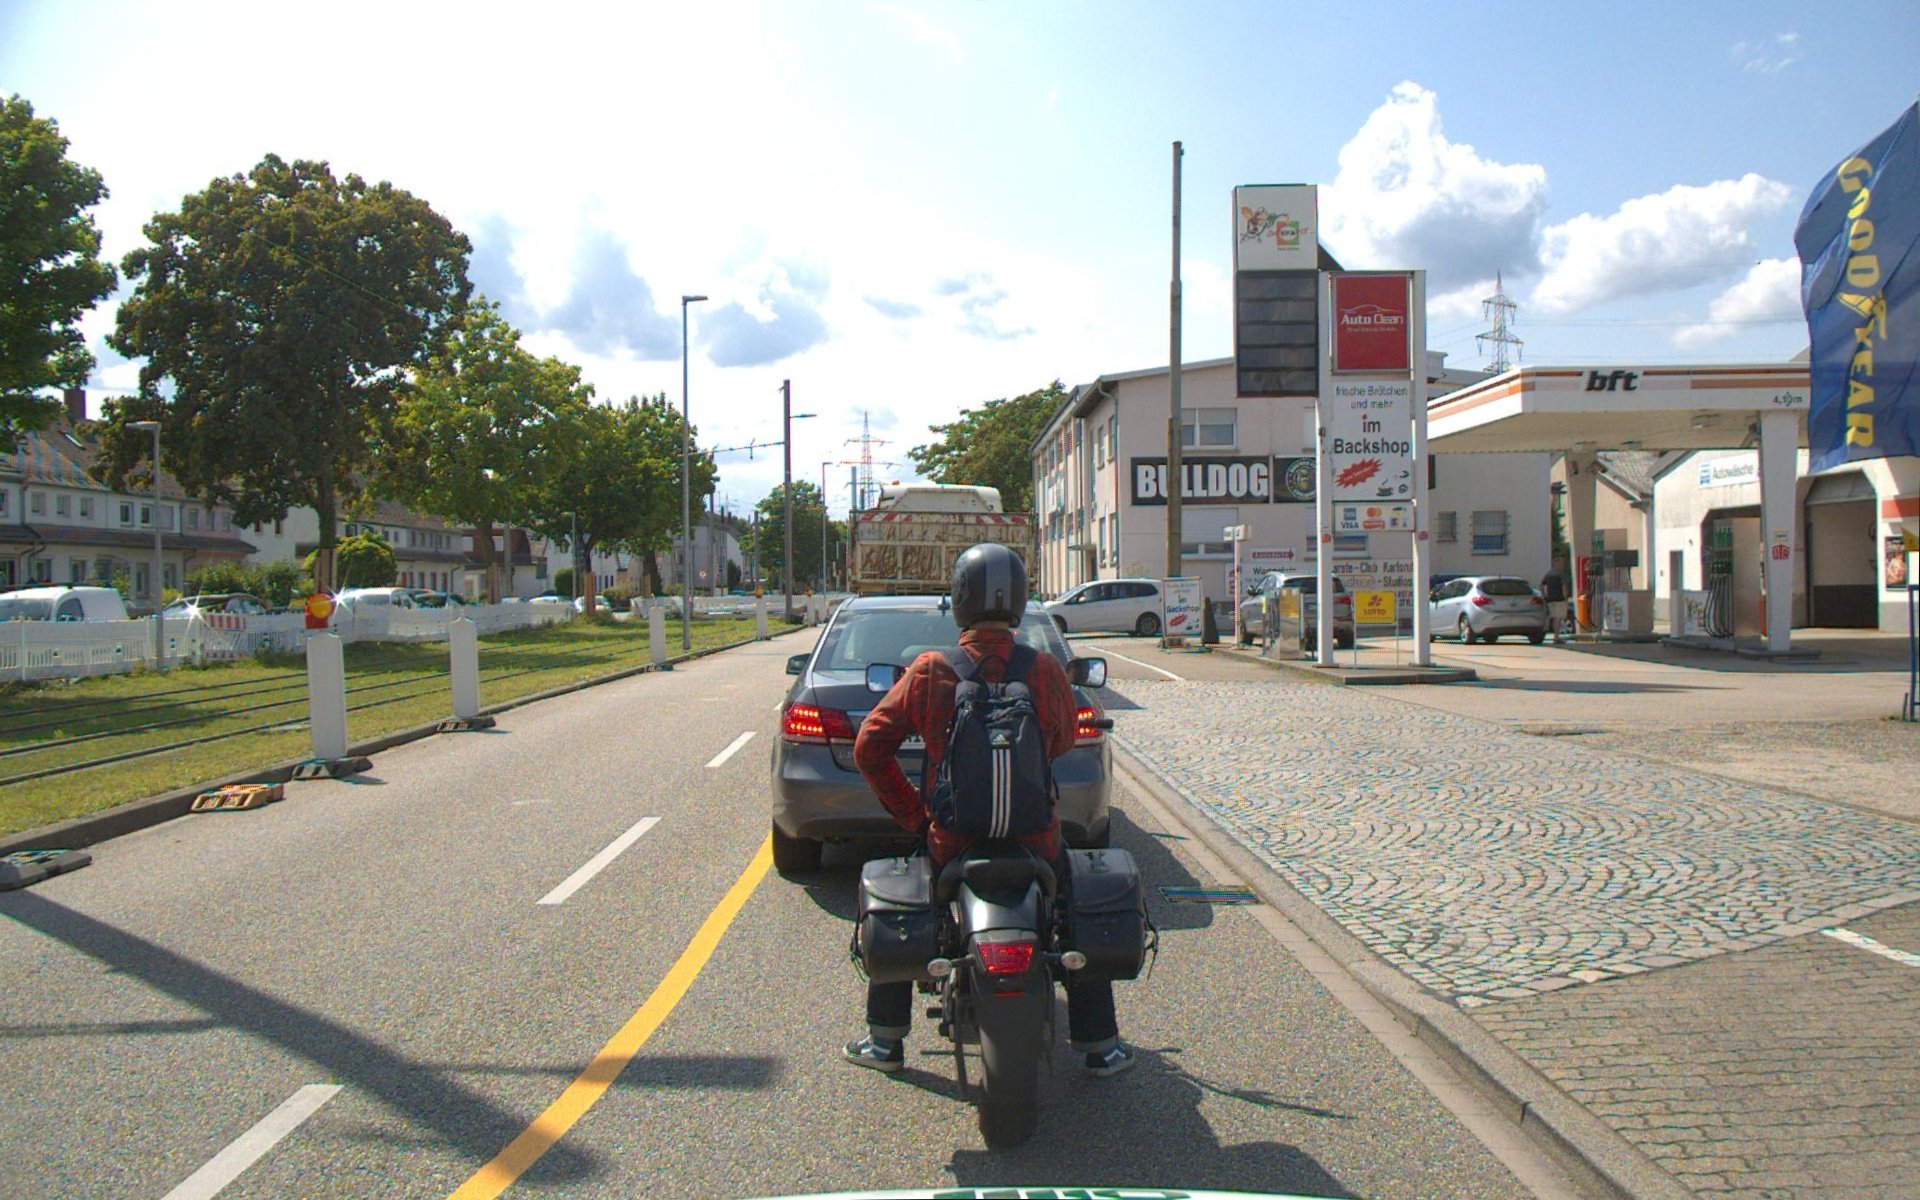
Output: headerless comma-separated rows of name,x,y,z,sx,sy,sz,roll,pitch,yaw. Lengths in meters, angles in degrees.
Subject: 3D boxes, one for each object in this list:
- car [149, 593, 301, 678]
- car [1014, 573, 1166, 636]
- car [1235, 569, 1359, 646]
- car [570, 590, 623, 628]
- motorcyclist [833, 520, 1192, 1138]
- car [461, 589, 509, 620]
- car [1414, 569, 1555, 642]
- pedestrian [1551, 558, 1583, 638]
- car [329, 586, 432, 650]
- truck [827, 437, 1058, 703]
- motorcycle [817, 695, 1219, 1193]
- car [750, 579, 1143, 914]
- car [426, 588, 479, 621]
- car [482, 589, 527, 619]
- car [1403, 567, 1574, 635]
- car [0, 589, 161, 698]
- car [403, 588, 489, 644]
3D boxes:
car,-16.667,0.755,37.717,1.664,1.770,4.053,-1,0,-1
car,3.675,0.117,47.084,4.029,1.652,1.682,-1,0,-9
car,7.407,0.142,36.754,1.795,1.562,4.008,-1,0,-2
car,-17.449,0.403,79.563,1.664,1.770,3.860,-1,0,-1
motorcyclist,0.134,0.616,5.075,0.950,1.662,1.214,1,0,-1
car,-28.175,0.258,98.142,1.664,1.770,4.061,-1,0,-1
car,11.777,0.102,37.420,1.795,1.505,4.008,-1,0,-2
pedestrian,13.140,-0.048,35.791,0.621,1.712,0.622,-1,0,20
car,-16.959,0.492,48.614,1.664,1.770,3.860,-1,0,-1
truck,-0.350,-0.423,25.468,2.910,3.362,8.404,-1,0,-2
motorcycle,0.123,0.899,5.193,0.956,1.031,2.431,1,0,-1
car,-0.121,0.660,9.683,1.795,1.505,4.008,-1,0,-2
car,-28.177,0.241,91.934,1.664,1.770,4.061,-1,0,-1
car,-28.660,0.227,104.147,1.664,1.770,4.061,-1,0,-1
car,13.578,0.026,42.680,4.017,1.652,1.687,-1,0,11
car,-16.413,0.741,30.293,1.664,1.849,3.860,-1,0,-1
car,-17.014,0.495,54.906,1.664,1.770,3.860,-1,0,-1
